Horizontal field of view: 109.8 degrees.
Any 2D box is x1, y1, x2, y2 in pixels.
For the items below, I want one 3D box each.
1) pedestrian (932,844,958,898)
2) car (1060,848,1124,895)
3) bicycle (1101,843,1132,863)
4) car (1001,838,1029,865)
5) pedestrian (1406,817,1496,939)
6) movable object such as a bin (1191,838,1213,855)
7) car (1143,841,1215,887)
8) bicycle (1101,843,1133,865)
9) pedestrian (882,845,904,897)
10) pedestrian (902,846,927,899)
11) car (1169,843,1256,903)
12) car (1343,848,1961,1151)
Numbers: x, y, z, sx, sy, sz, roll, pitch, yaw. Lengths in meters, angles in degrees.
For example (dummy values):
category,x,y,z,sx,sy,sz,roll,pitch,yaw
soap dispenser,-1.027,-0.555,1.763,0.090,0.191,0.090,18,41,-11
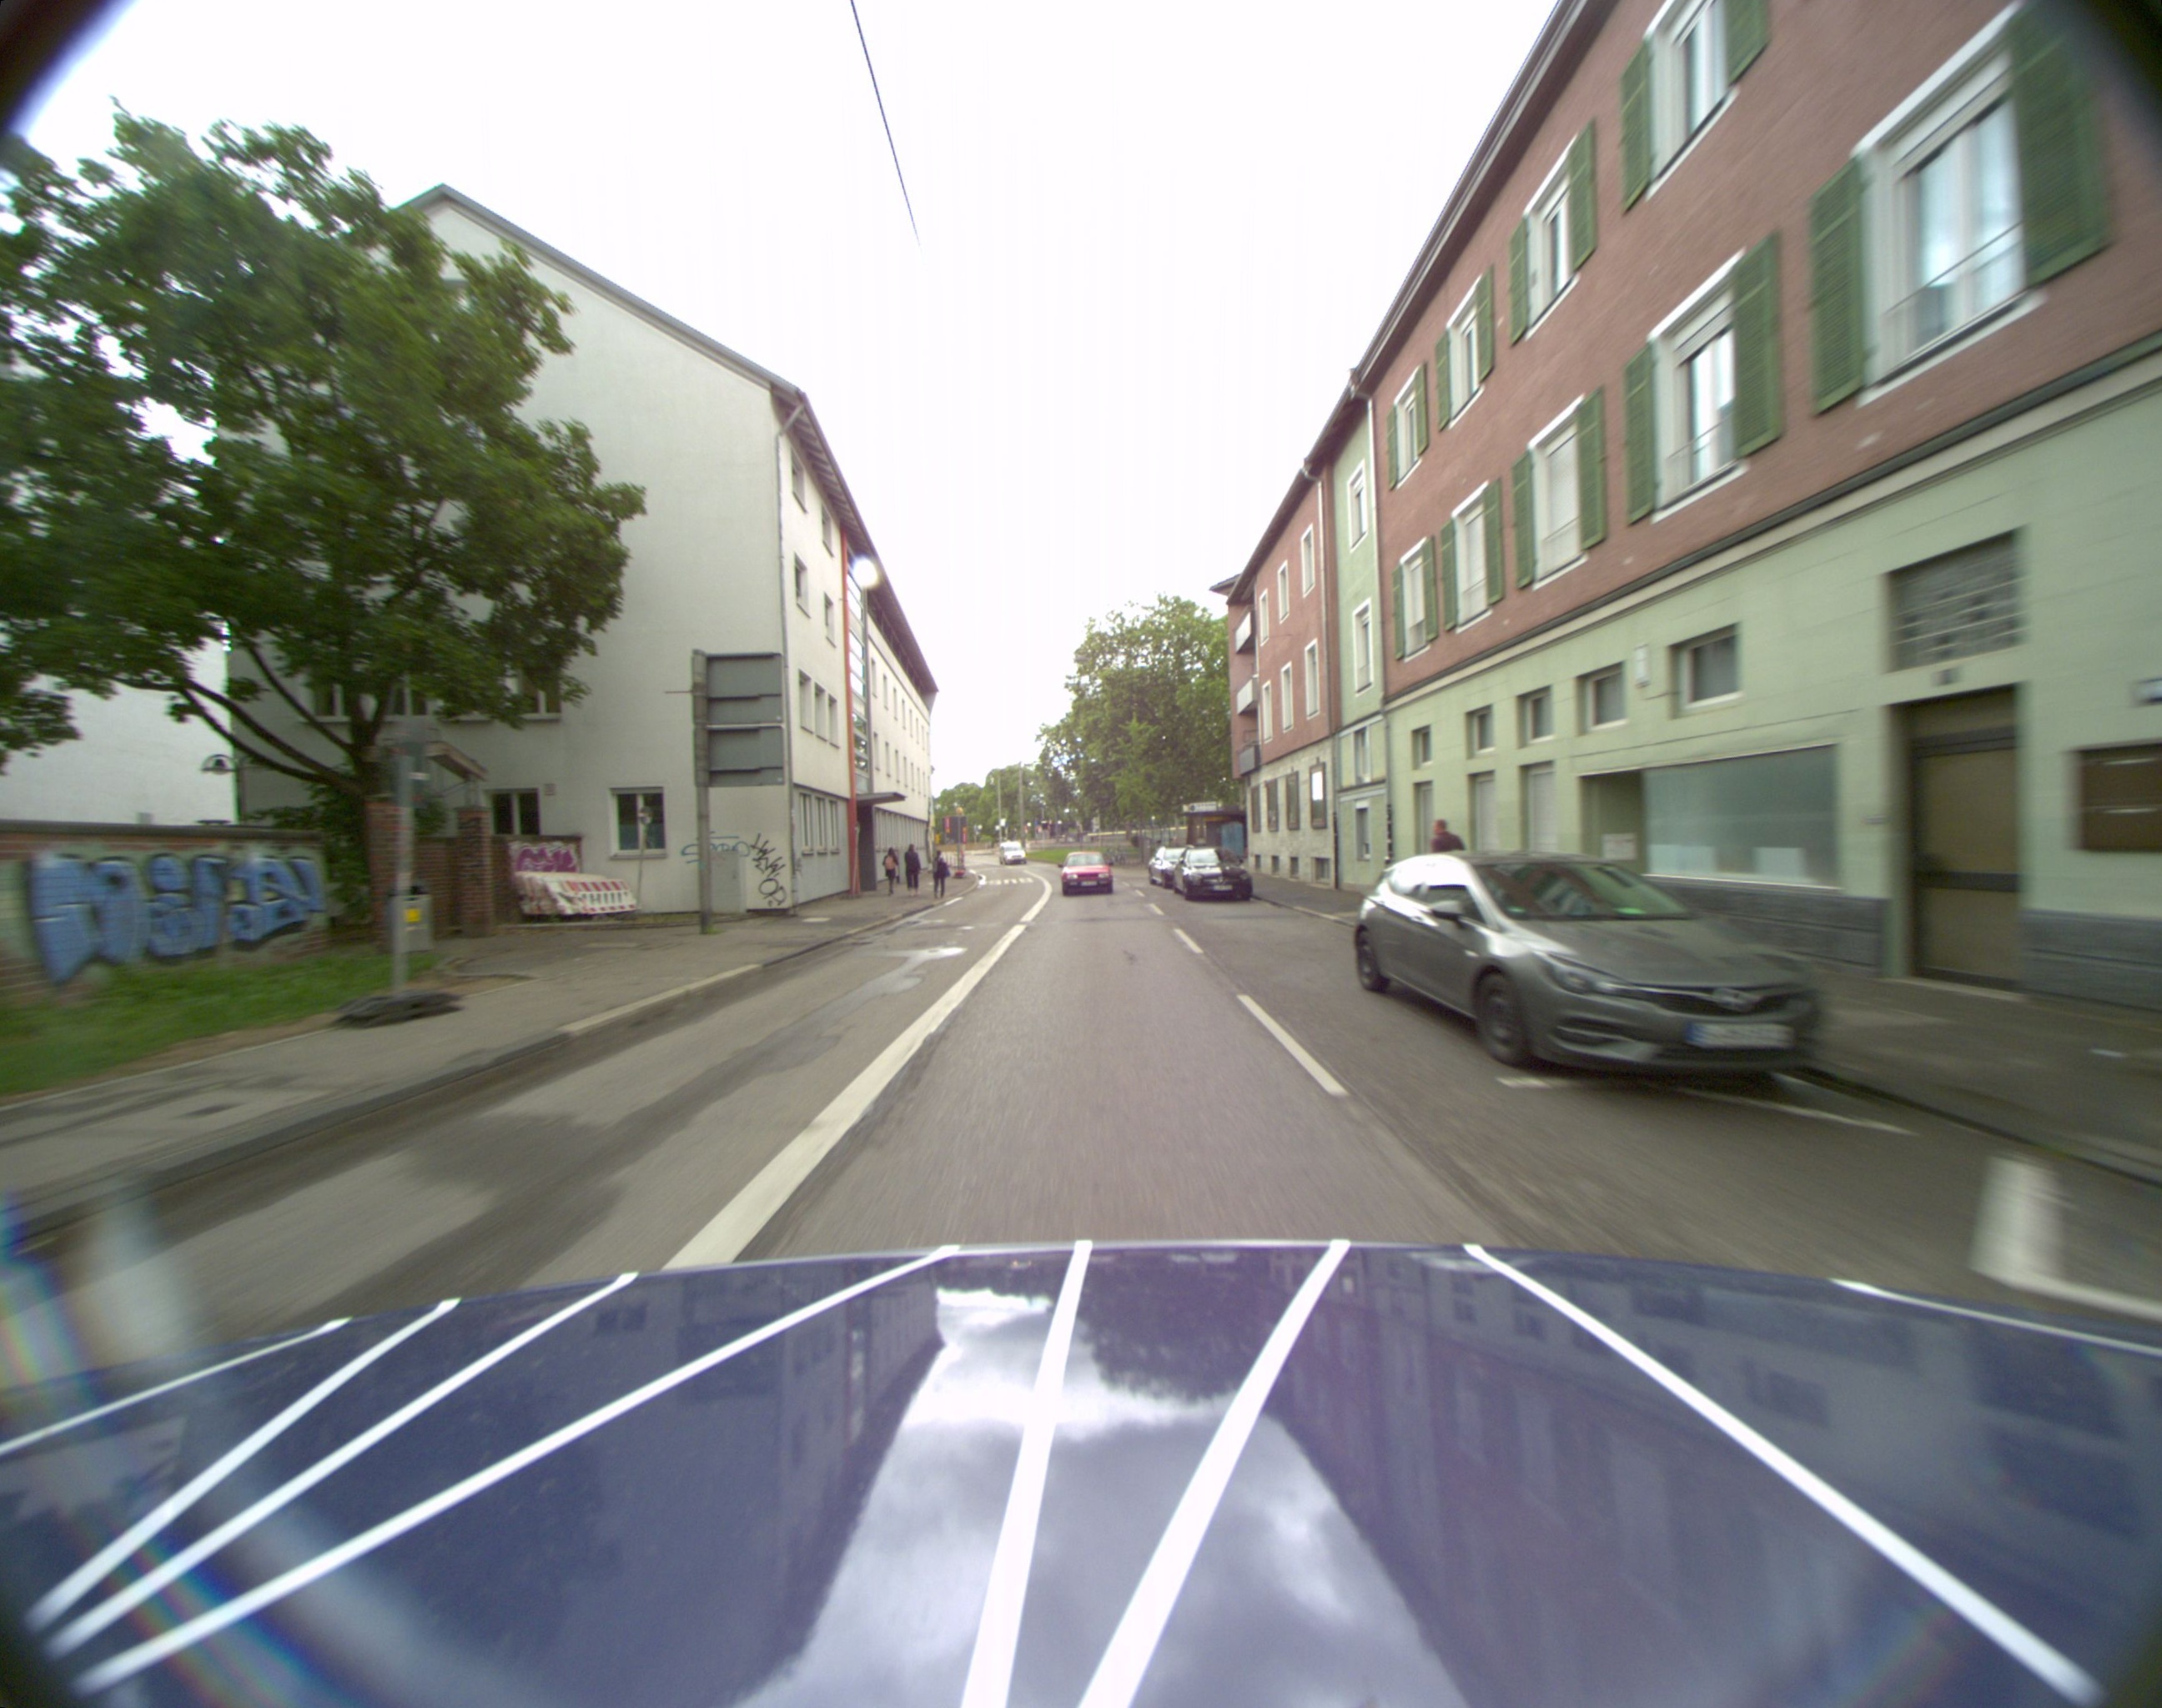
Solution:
category,x,y,z,sx,sy,sz,roll,pitch,yaw
pedestrian,-4.629,0.575,25.916,0.805,1.783,0.942,0,0,-5
car,0.292,0.547,26.404,1.850,1.414,4.171,-4,1,-3
bicycle,2.239,-0.064,48.293,1.875,1.108,0.577,-5,3,-2
car,-5.541,-0.259,63.369,2.074,1.776,4.451,-5,5,-6
pedestrian,5.593,0.351,11.548,0.763,1.734,0.984,-5,0,-1
movable object such as a bin,7.570,-0.463,47.681,0.674,0.959,1.076,-9,4,-42
car,3.529,0.307,28.121,1.834,1.447,4.581,-3,2,-3
bicycle,2.224,-0.001,47.161,1.809,1.170,0.723,-5,3,-23
pedestrian,-6.398,0.564,25.892,0.543,1.746,0.609,0,0,8
pedestrian,-5.647,0.613,25.822,0.689,1.746,0.878,0,0,-5
car,3.798,0.468,22.709,1.833,1.447,4.920,-2,2,2
car,3.766,0.770,6.129,1.883,1.477,4.127,-4,1,1
